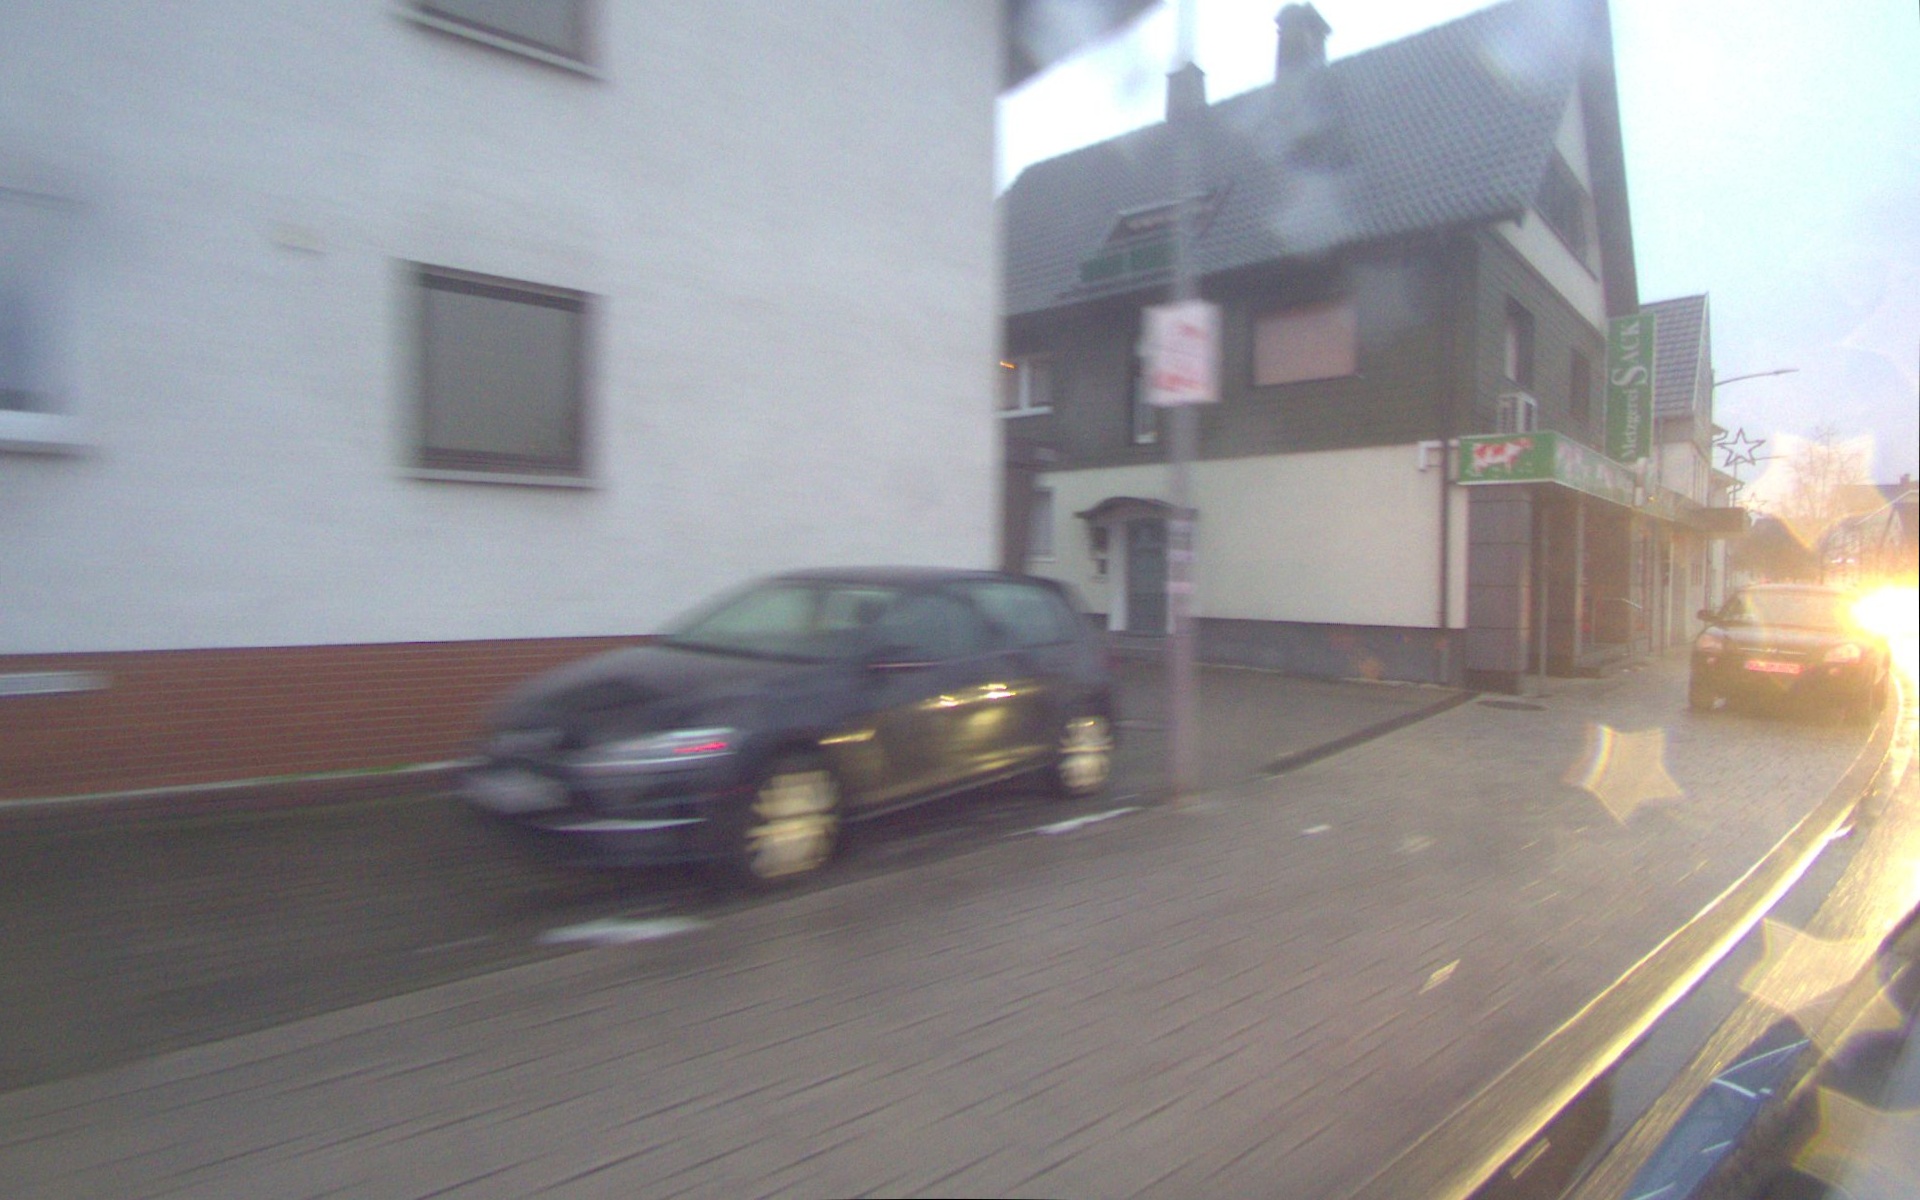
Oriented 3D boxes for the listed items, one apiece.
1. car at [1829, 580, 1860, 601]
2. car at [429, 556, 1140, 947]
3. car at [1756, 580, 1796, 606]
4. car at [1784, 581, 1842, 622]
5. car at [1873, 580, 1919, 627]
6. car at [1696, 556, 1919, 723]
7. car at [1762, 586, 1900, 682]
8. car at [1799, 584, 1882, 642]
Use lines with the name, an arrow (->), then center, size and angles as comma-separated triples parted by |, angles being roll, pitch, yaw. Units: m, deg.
car -> 68.717, -0.778, 78.629 | 1.730, 1.556, 3.726 | -2, 0, 41
car -> -0.676, 0.513, 5.840 | 1.762, 1.410, 3.861 | 4, 3, 38
car -> 52.740, -0.467, 65.459 | 1.803, 1.583, 4.248 | 2, 2, 36
car -> 36.312, 0.017, 43.161 | 1.661, 1.595, 4.436 | 2, 2, 37
car -> 35.910, 0.098, 38.079 | 1.897, 1.660, 4.505 | 2, 2, 37
car -> 11.325, 0.408, 13.372 | 3.932, 1.803, 1.772 | 0, 4, -43
car -> 15.172, 0.535, 17.611 | 1.646, 1.432, 2.685 | 5, 3, 43
car -> 25.627, 0.316, 29.544 | 1.651, 1.472, 4.177 | 4, 4, 40
